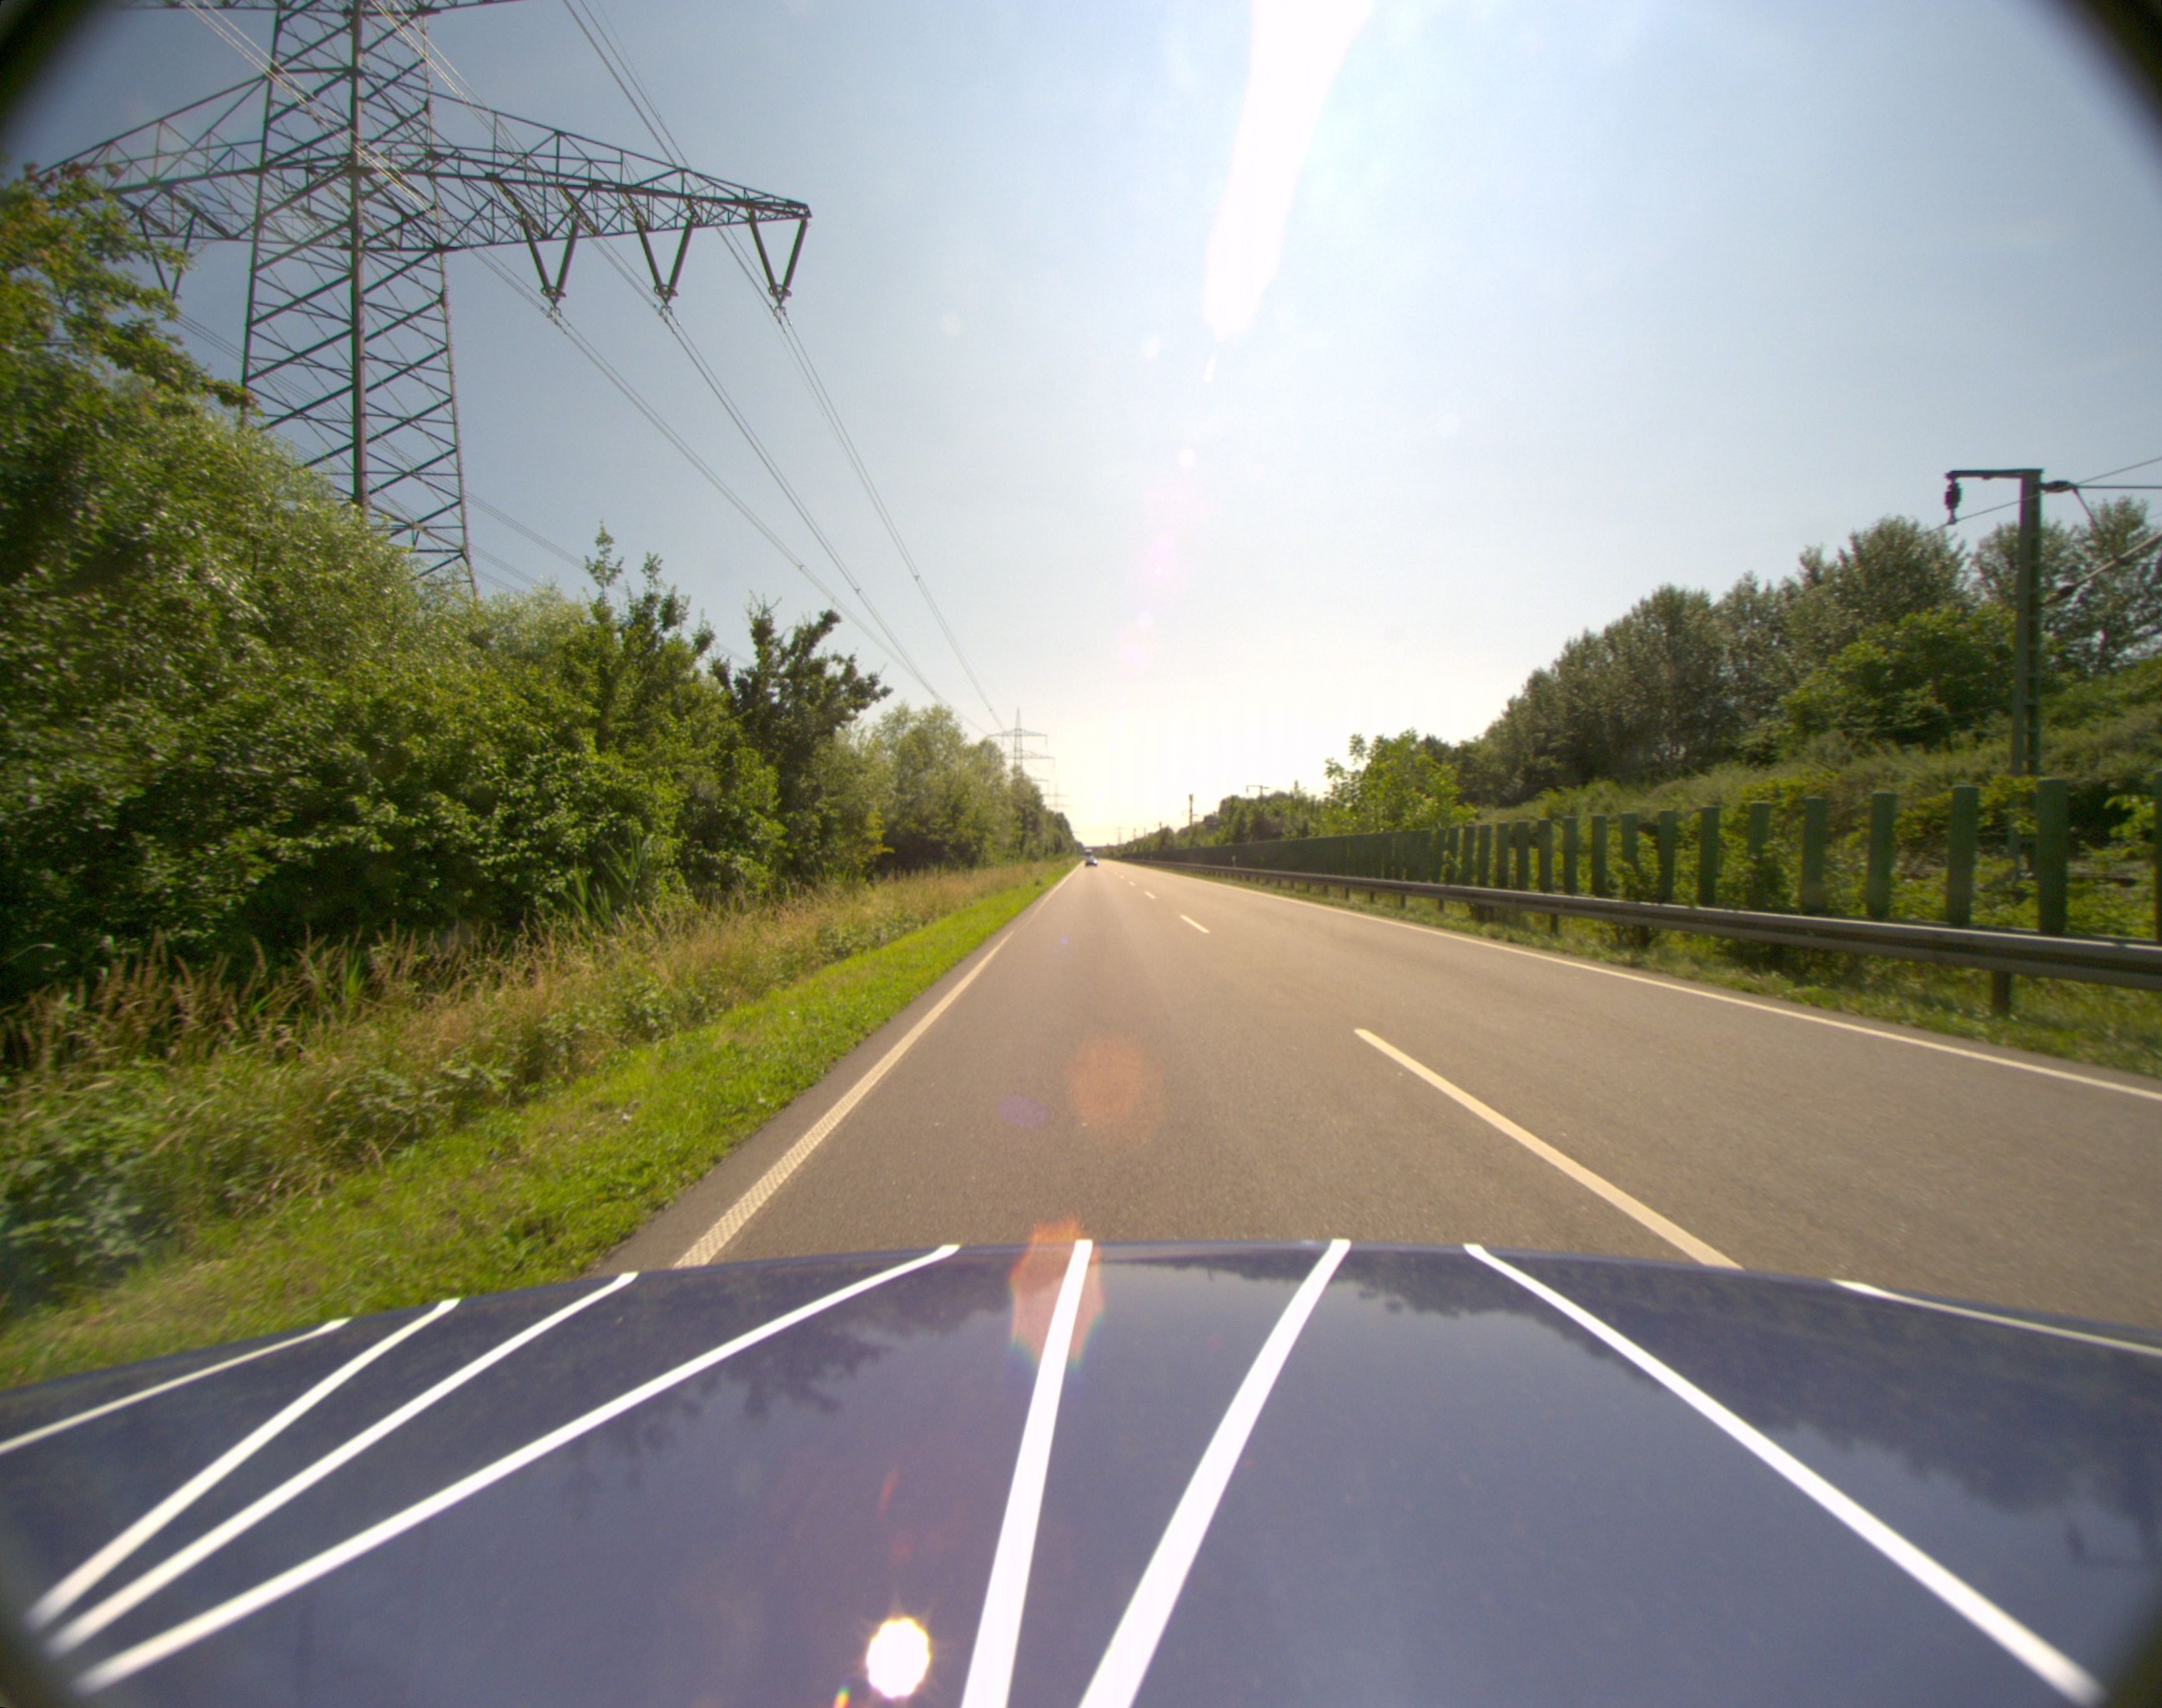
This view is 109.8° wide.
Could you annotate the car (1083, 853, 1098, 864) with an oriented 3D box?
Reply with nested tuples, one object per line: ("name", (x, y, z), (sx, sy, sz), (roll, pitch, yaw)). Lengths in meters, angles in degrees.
("car", (1.325, 0.652, 105.681), (1.998, 1.346, 4.157), (-3, 1, 0))
